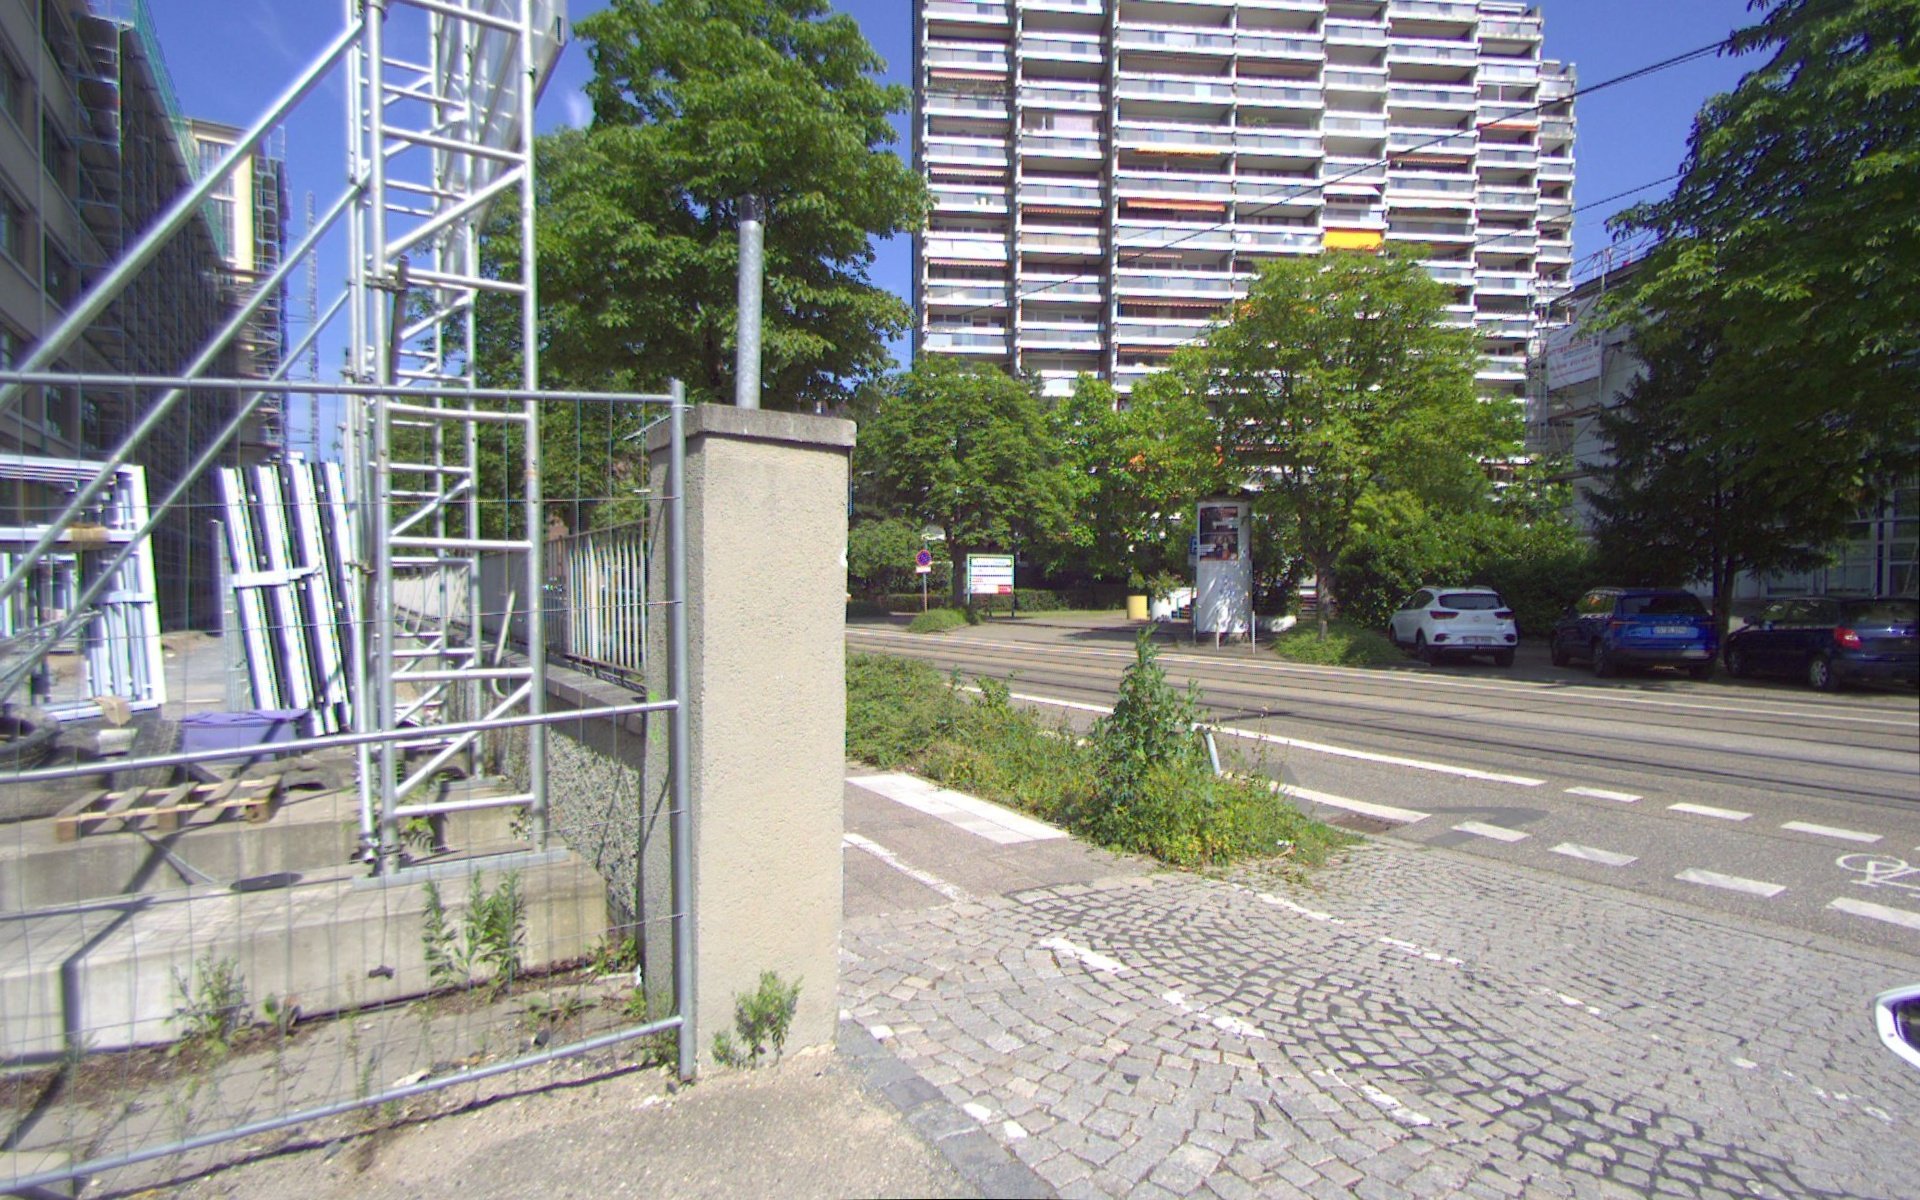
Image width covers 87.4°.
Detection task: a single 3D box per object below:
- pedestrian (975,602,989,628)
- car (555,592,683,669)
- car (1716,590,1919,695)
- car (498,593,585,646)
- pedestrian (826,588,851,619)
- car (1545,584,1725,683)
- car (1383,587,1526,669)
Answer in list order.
[{"bbox_3d":[0.983,0.673,44.939,0.525,1.169,0.700,0,0,-10],"label":"pedestrian"},{"bbox_3d":[-7.579,0.618,22.099,1.801,1.514,4.072,0,0,-32],"label":"car"},{"bbox_3d":[14.272,0.638,16.576,1.544,1.551,3.460,0,0,12],"label":"car"},{"bbox_3d":[-12.698,0.563,30.355,1.801,1.472,3.965,0,0,-32],"label":"car"},{"bbox_3d":[-7.217,0.213,59.658,1.049,1.822,1.253,2,0,-33],"label":"pedestrian"},{"bbox_3d":[12.687,0.554,19.167,1.745,1.644,3.946,-1,1,17],"label":"car"},{"bbox_3d":[10.682,0.562,21.994,1.783,1.628,3.947,0,0,10],"label":"car"}]
